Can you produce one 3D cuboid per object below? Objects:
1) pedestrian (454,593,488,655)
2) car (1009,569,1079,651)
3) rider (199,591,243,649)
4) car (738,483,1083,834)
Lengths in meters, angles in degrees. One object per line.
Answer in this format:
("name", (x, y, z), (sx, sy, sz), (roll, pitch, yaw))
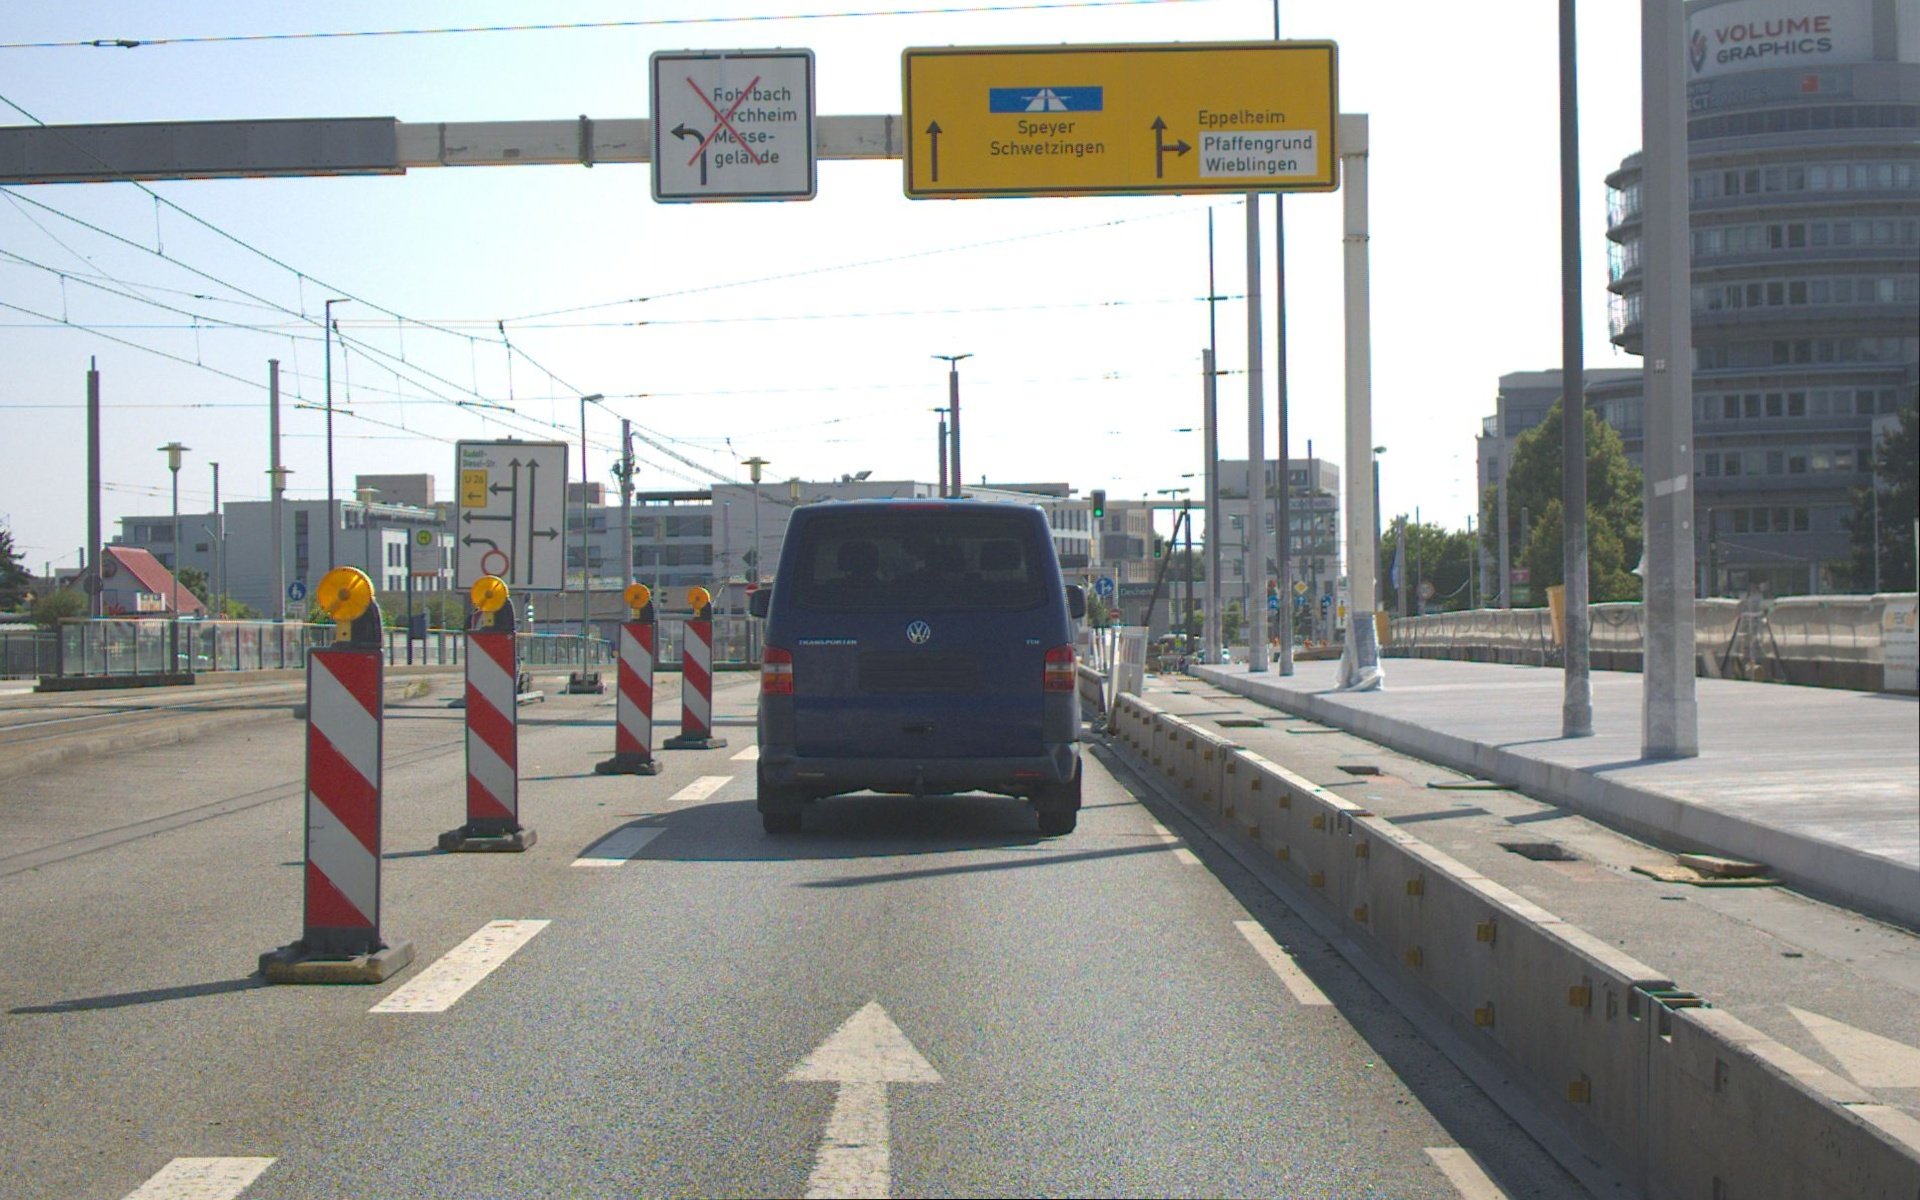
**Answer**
("pedestrian", (-13.111, 0.642, 92.229), (0.660, 1.649, 0.739), (-1, 0, 14))
("car", (3.065, 0.335, 124.411), (2.339, 2.877, 5.970), (1, 0, 3))
("rider", (-22.415, 0.588, 104.348), (0.763, 1.727, 2.952), (0, 0, -1))
("car", (-0.303, 0.320, 21.152), (1.888, 1.927, 4.000), (1, 0, -1))
